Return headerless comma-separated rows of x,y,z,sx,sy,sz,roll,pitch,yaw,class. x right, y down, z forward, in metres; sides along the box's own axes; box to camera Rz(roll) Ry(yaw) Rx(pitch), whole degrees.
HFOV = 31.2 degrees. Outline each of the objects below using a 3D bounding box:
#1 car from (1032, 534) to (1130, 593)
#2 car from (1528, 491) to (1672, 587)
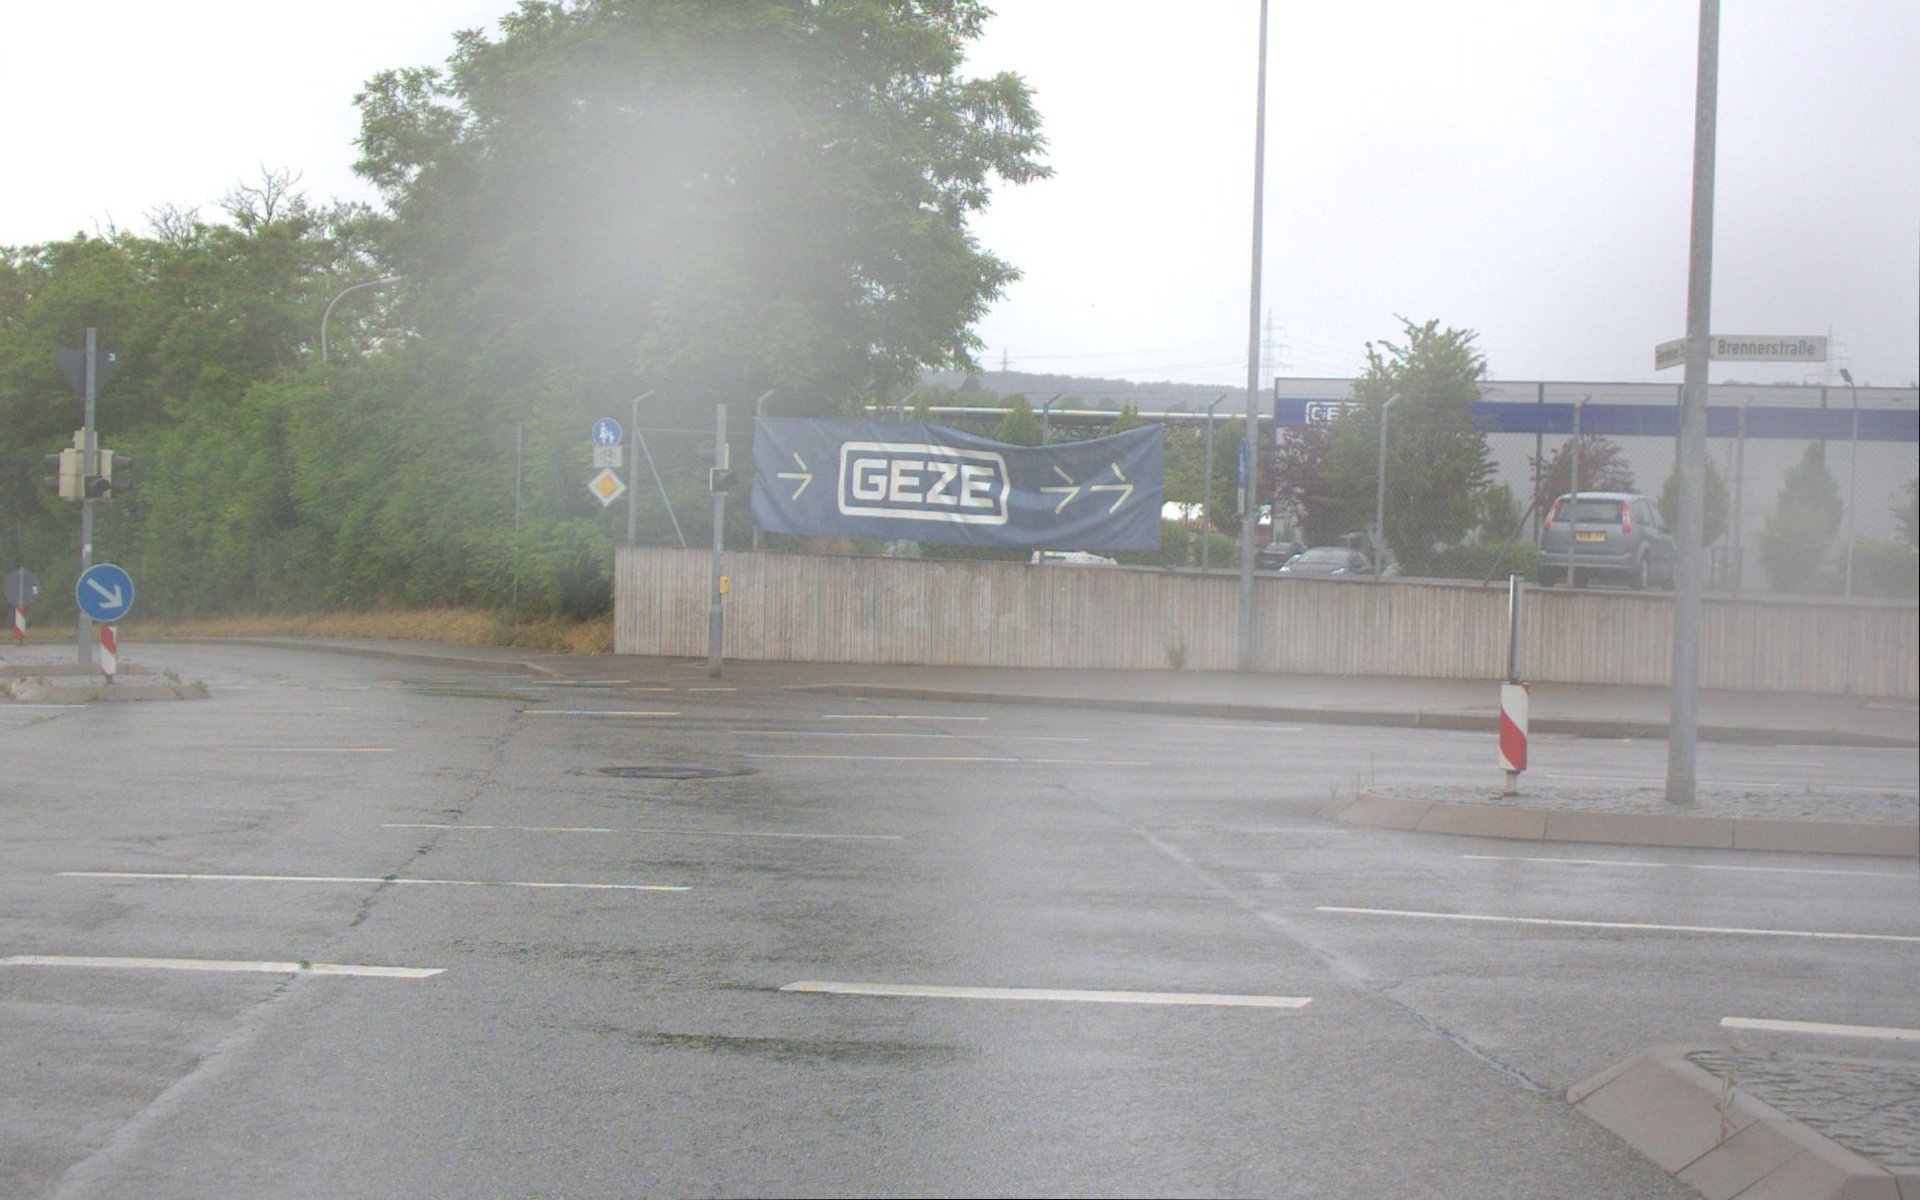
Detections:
3.397,-1.016,95.898,1.668,1.601,3.527,1,1,21,car
10.713,-0.999,57.432,1.744,1.548,3.527,1,1,21,car
